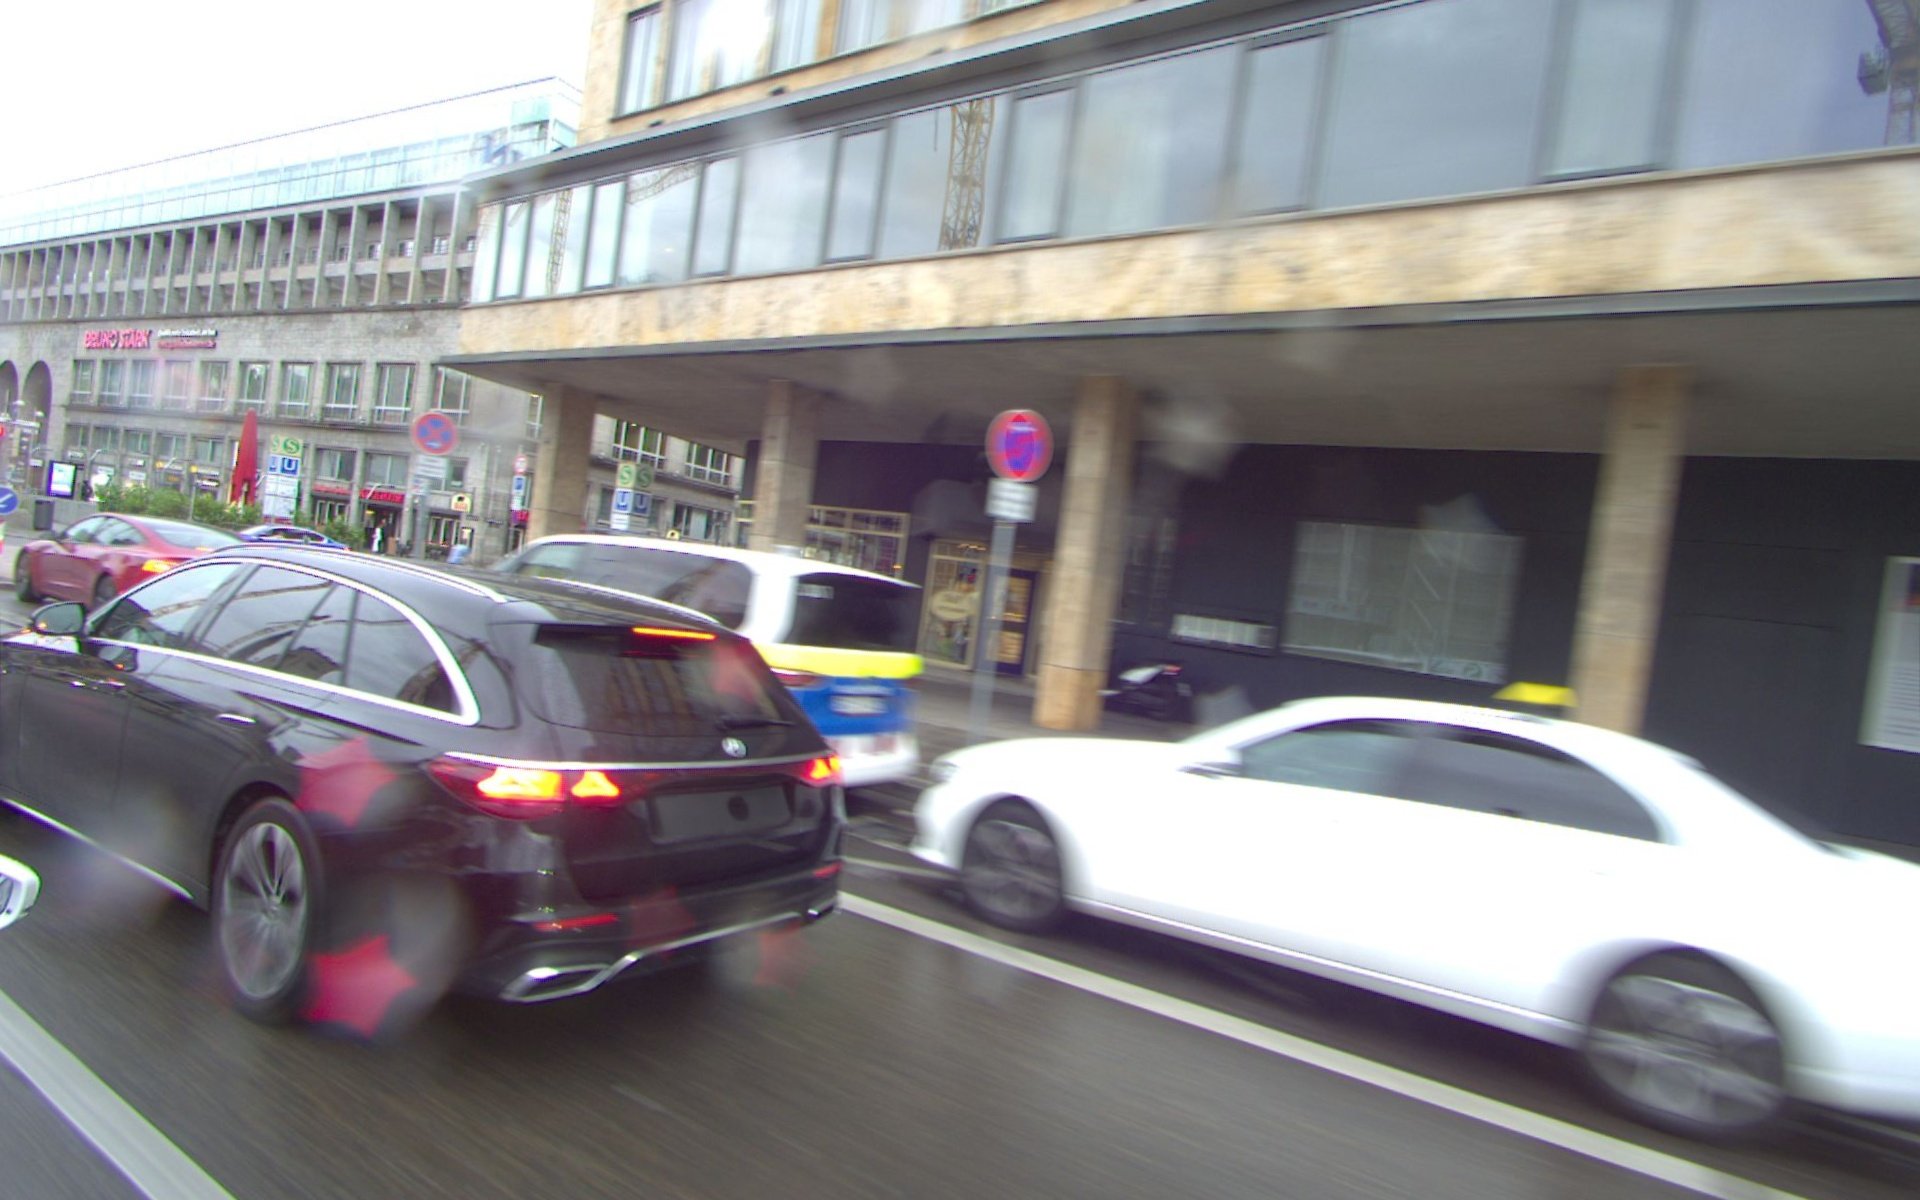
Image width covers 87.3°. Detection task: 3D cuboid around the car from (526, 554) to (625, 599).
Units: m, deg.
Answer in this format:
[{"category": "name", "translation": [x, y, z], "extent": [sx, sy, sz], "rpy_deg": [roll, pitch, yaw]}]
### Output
[{"category": "car", "translation": [-17.074, -1.011, 44.797], "extent": [1.821, 1.414, 3.661], "rpy_deg": [7, -2, 33]}]

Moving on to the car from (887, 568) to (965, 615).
[{"category": "car", "translation": [-1.812, -0.432, 55.168], "extent": [1.966, 1.995, 4.638], "rpy_deg": [7, -1, 29]}]

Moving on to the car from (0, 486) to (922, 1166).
[{"category": "car", "translation": [-2.618, 0.483, 4.407], "extent": [4.552, 1.519, 1.797], "rpy_deg": [6, -2, 32]}]

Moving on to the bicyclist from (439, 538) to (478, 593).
[{"category": "bicyclist", "translation": [-15.548, -1.068, 31.188], "extent": [0.601, 1.558, 0.719], "rpy_deg": [7, -1, 13]}]

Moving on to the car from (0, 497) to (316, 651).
[{"category": "car", "translation": [-10.968, -0.380, 13.661], "extent": [4.451, 1.503, 1.878], "rpy_deg": [6, -2, 32]}]

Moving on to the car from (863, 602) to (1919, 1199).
[{"category": "car", "translation": [2.118, 1.162, 5.179], "extent": [4.928, 1.656, 1.878], "rpy_deg": [6, -2, 32]}]

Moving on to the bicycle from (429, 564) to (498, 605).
[{"category": "bicycle", "translation": [-15.536, -0.462, 31.557], "extent": [0.581, 1.021, 2.217], "rpy_deg": [7, -2, 13]}]

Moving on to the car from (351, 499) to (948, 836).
[{"category": "car", "translation": [-2.745, 0.393, 8.445], "extent": [4.854, 1.942, 1.878], "rpy_deg": [7, -2, 32]}]

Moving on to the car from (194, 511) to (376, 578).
[{"category": "car", "translation": [-22.332, -1.801, 33.451], "extent": [1.734, 1.414, 4.632], "rpy_deg": [6, -3, 40]}]

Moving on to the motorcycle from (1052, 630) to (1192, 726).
[{"category": "motorcycle", "translation": [2.541, 1.218, 16.016], "extent": [2.074, 1.232, 0.567], "rpy_deg": [6, -2, 40]}]
